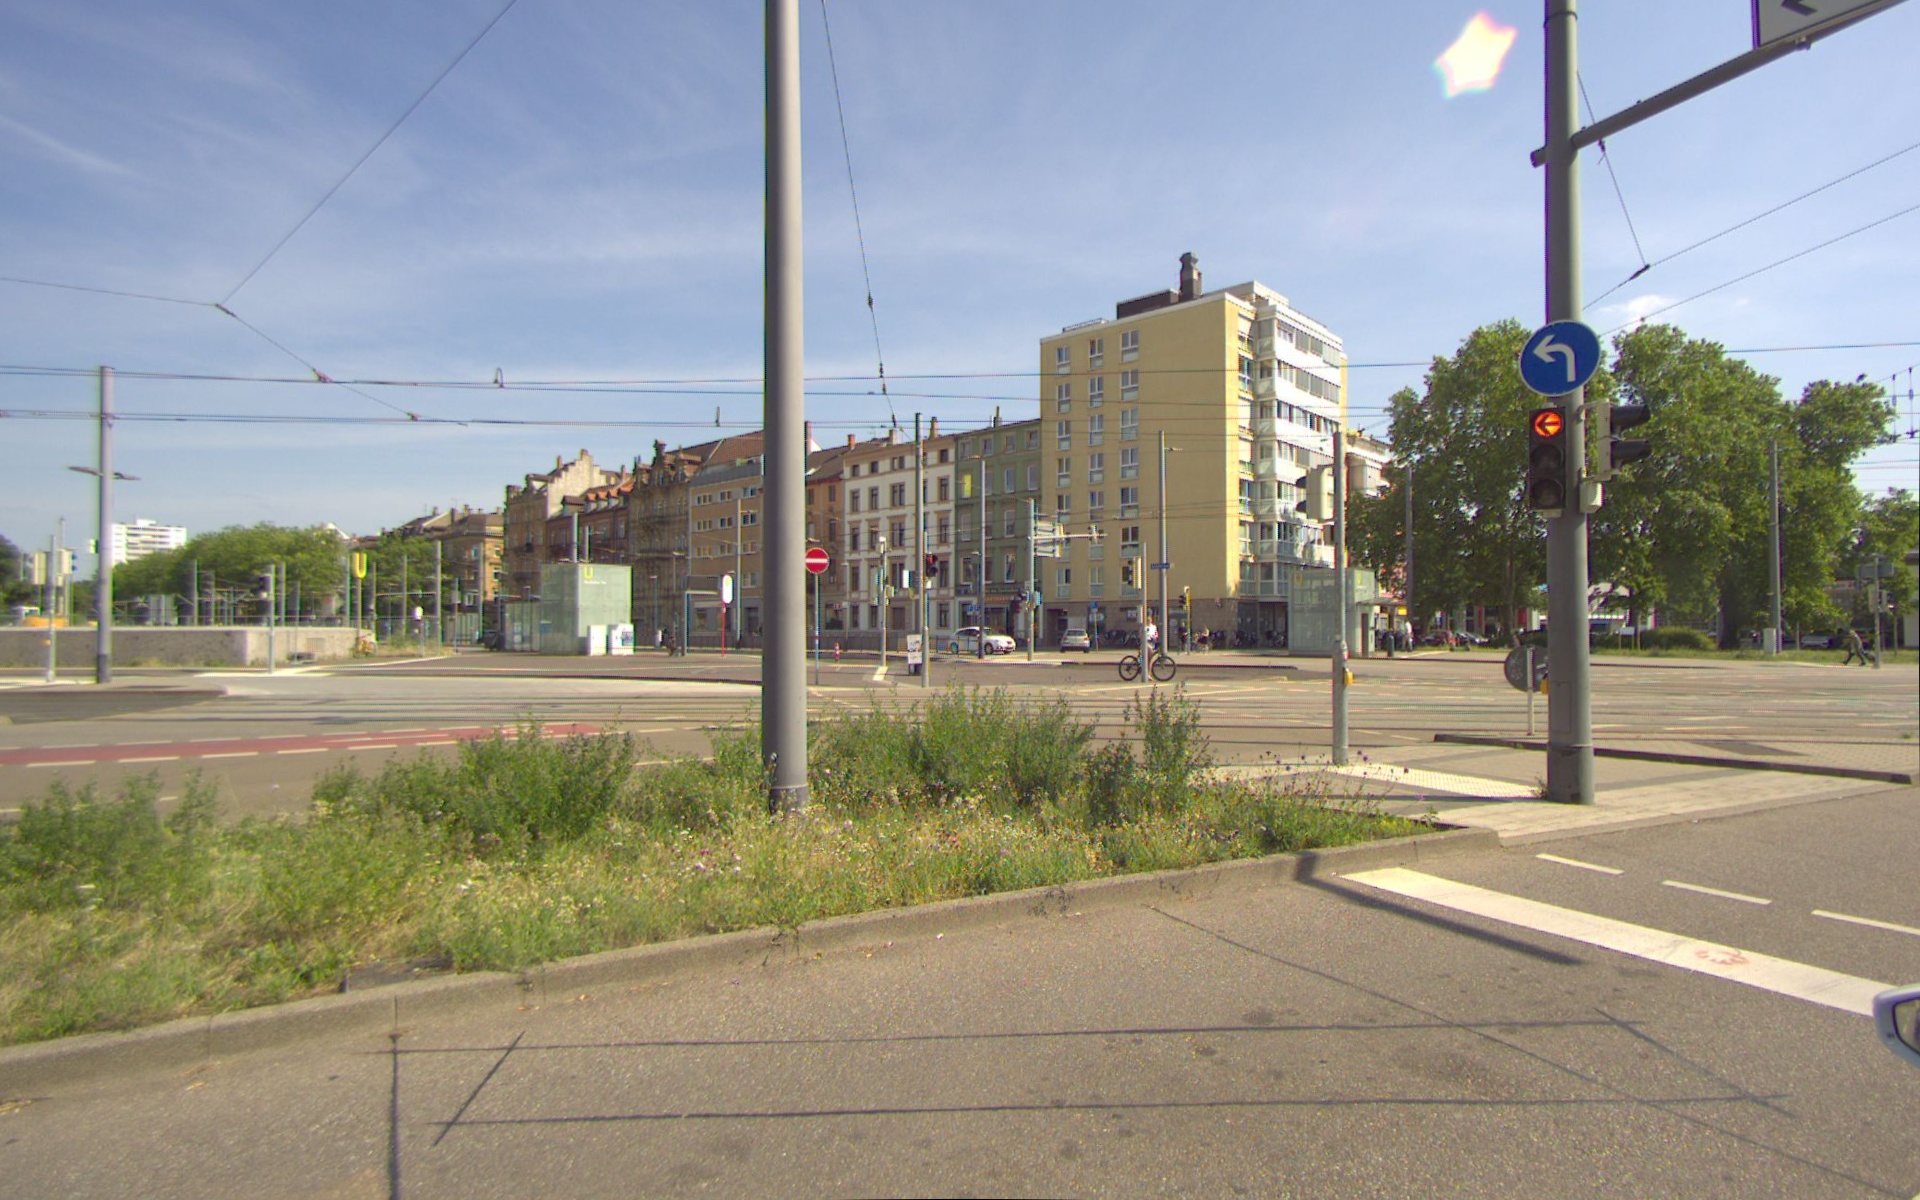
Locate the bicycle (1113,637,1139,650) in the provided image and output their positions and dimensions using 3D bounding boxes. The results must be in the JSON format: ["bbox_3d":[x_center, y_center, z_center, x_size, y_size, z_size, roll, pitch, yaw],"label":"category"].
[{"bbox_3d":[11.555,3.040,70.049,1.733,0.928,0.580,-2,-2,44],"label":"bicycle"}]

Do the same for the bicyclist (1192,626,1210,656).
[{"bbox_3d":[13.014,2.202,54.214,0.605,1.593,0.728,1,-3,-29],"label":"bicyclist"}]

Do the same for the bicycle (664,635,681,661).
[{"bbox_3d":[-13.159,2.185,45.913,0.408,1.085,1.651,0,0,-28],"label":"bicycle"}]

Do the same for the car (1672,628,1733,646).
[{"bbox_3d":[66.648,3.303,90.195,1.976,1.390,3.968,2,0,-30],"label":"car"}]

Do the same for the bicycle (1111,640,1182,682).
[{"bbox_3d":[5.058,1.646,27.282,0.745,1.098,1.828,2,-4,-40],"label":"bicycle"}]

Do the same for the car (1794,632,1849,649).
[{"bbox_3d":[70.193,3.274,81.825,3.946,1.261,1.988,2,0,-25],"label":"car"}]

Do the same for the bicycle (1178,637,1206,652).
[{"bbox_3d":[15.323,2.946,66.357,0.579,0.978,1.736,0,-2,-41],"label":"bicycle"}]

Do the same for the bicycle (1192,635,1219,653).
[{"bbox_3d":[15.887,2.860,64.990,0.578,1.100,1.740,-3,0,-34],"label":"bicycle"}]

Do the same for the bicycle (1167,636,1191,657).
[{"bbox_3d":[12.105,2.576,55.453,0.575,1.145,1.790,-2,-3,37],"label":"bicycle"}]

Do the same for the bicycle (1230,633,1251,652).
[{"bbox_3d":[18.373,2.785,65.774,0.534,1.201,1.878,-1,-2,45],"label":"bicycle"}]

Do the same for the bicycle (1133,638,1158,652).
[{"bbox_3d":[12.756,3.071,68.951,0.579,0.928,1.737,0,-2,-39],"label":"bicycle"}]

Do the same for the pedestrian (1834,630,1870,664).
[{"bbox_3d":[38.401,2.012,43.248,1.100,1.422,0.654,2,0,39],"label":"pedestrian"}]

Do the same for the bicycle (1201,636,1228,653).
[{"bbox_3d":[16.514,2.868,65.215,0.579,1.056,1.737,0,-2,-40],"label":"bicycle"}]

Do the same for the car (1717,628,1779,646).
[{"bbox_3d":[70.348,3.243,89.713,1.977,1.572,3.967,1,-2,-31],"label":"car"}]

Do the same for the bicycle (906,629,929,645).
[{"bbox_3d":[-3.017,2.649,71.256,0.589,1.109,1.738,0,-2,43],"label":"bicycle"}]

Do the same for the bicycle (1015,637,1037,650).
[{"bbox_3d":[5.010,3.301,76.315,1.755,0.977,0.412,-2,0,43],"label":"bicycle"}]

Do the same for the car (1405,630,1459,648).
[{"bbox_3d":[38.919,3.192,82.888,3.684,1.358,1.733,1,0,44],"label":"car"}]

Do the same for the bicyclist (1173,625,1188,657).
[{"bbox_3d":[12.126,2.263,55.285,0.575,1.757,0.615,-2,-3,37],"label":"bicyclist"}]

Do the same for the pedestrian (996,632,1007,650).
[{"bbox_3d":[3.218,3.184,78.302,0.637,1.392,0.524,-1,-2,43],"label":"pedestrian"}]

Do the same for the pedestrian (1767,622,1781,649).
[{"bbox_3d":[48.836,2.122,60.245,0.455,1.617,0.393,2,0,-6],"label":"pedestrian"}]

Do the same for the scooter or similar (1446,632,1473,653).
[{"bbox_3d":[27.107,2.316,54.535,0.509,1.134,1.358,0,-1,-19],"label":"scooter or similar"}]

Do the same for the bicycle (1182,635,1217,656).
[{"bbox_3d":[12.919,2.450,54.145,1.775,1.145,0.749,1,-2,-30],"label":"bicycle"}]

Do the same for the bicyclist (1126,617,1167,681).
[{"bbox_3d":[5.059,1.331,27.275,0.745,1.706,0.768,2,-4,-40],"label":"bicyclist"}]

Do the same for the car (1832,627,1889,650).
[{"bbox_3d":[71.667,3.087,79.965,3.946,1.706,1.988,2,0,-25],"label":"car"}]

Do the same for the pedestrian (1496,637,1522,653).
[{"bbox_3d":[32.314,2.650,59.116,1.159,0.904,0.818,-1,-2,41],"label":"pedestrian"}]

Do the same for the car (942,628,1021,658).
[{"bbox_3d":[1.141,2.281,53.681,4.067,1.417,1.749,-1,1,43],"label":"car"}]

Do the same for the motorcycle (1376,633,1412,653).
[{"bbox_3d":[24.803,2.457,57.389,0.631,1.076,2.028,0,-2,-22],"label":"motorcycle"}]

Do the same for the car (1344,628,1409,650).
[{"bbox_3d":[30.532,2.835,73.680,3.945,1.459,1.879,1,0,44],"label":"car"}]

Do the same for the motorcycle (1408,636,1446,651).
[{"bbox_3d":[28.338,2.635,60.962,1.997,0.853,0.641,0,-1,4],"label":"motorcycle"}]

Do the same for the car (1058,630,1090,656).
[{"bbox_3d":[7.027,2.667,62.084,1.777,1.458,4.004,1,-4,4],"label":"car"}]

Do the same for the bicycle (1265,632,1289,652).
[{"bbox_3d":[20.478,2.725,64.865,1.740,1.235,0.578,0,-1,-37],"label":"bicycle"}]

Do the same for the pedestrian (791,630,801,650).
[{"bbox_3d":[-13.667,3.323,83.713,0.518,1.687,0.551,-2,-2,43],"label":"pedestrian"}]

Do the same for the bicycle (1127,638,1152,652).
[{"bbox_3d":[12.247,3.054,68.719,0.579,0.928,1.737,0,-2,-39],"label":"bicycle"}]
